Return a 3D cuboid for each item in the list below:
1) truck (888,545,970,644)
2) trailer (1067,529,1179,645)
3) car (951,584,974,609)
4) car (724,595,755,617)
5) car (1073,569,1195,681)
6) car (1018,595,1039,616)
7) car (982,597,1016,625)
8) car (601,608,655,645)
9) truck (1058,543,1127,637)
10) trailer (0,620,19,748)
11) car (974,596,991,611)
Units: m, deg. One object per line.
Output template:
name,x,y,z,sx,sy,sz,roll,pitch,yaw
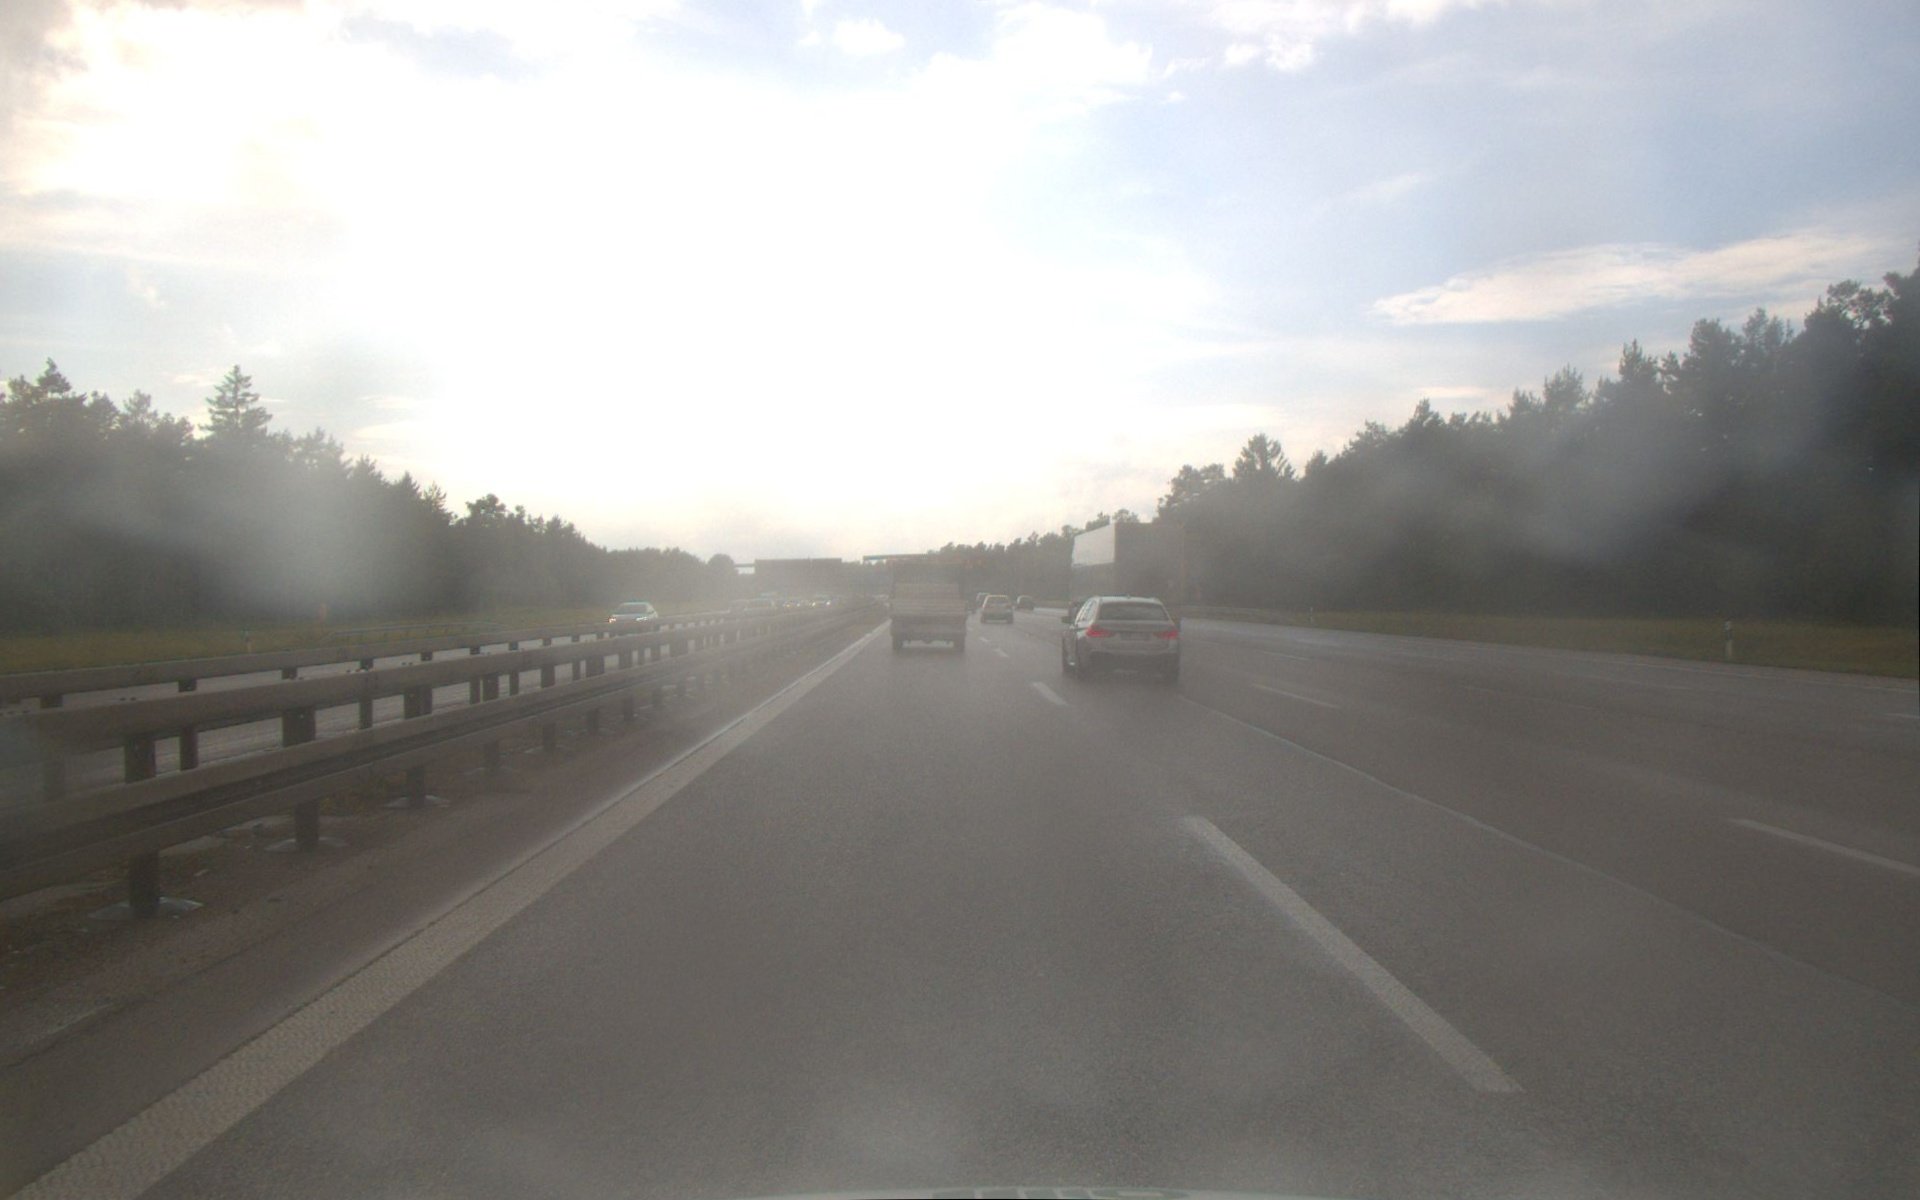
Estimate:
truck,-0.834,-0.144,45.082,2.094,2.532,5.311,0,0,-1
trailer,6.190,-0.467,65.089,2.278,4.071,13.402,0,0,-3
car,0.206,-0.284,138.256,1.869,2.049,4.000,0,0,0
car,-16.401,0.439,123.226,1.775,1.447,4.235,-3,0,-2
car,3.147,0.415,30.775,2.034,1.918,5.013,0,0,3
car,6.915,0.515,167.337,1.953,2.049,4.000,1,0,0
car,2.148,0.588,92.034,1.793,1.492,4.000,0,0,1
car,-14.582,1.127,72.779,1.693,1.507,3.998,-1,0,-3
truck,5.755,-0.428,72.383,2.248,3.935,5.388,0,0,-4
trailer,-13.463,1.151,20.821,1.451,1.701,3.207,-2,0,-3
car,2.556,0.352,188.336,1.706,1.718,3.997,0,0,-4
